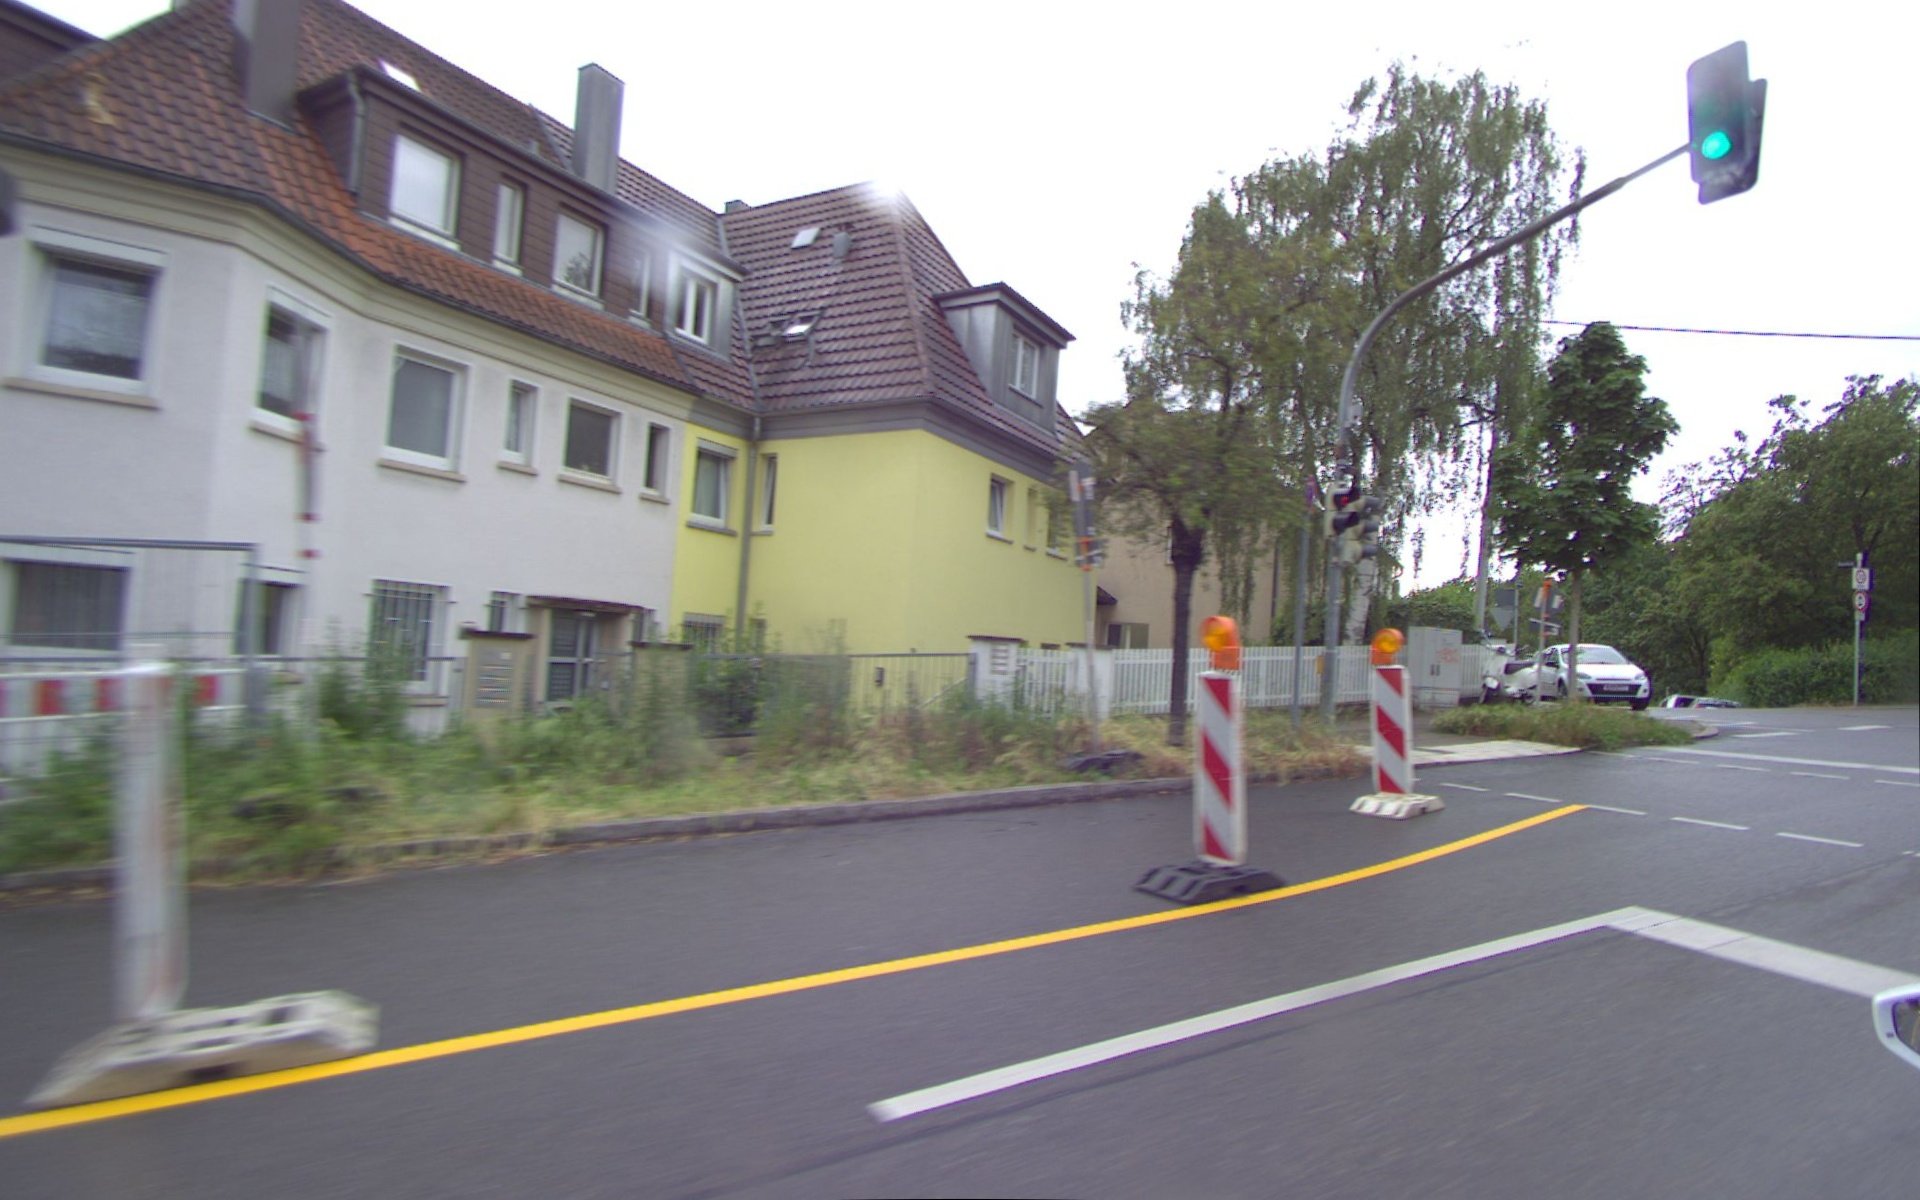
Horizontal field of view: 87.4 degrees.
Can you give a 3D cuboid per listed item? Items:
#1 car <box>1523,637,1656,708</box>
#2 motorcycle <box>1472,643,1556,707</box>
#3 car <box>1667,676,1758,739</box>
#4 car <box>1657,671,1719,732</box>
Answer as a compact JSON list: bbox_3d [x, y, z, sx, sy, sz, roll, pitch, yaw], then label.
[{"bbox_3d":[14.940,1.750,24.083,1.655,1.528,4.015,-2,-5,17],"label":"car"},{"bbox_3d":[10.361,1.380,18.778,1.824,1.146,0.587,1,-2,-33],"label":"motorcycle"},{"bbox_3d":[26.398,3.716,35.375,1.813,1.773,3.995,5,0,27],"label":"car"},{"bbox_3d":[28.845,3.962,39.894,1.723,2.040,3.989,4,0,34],"label":"car"}]
